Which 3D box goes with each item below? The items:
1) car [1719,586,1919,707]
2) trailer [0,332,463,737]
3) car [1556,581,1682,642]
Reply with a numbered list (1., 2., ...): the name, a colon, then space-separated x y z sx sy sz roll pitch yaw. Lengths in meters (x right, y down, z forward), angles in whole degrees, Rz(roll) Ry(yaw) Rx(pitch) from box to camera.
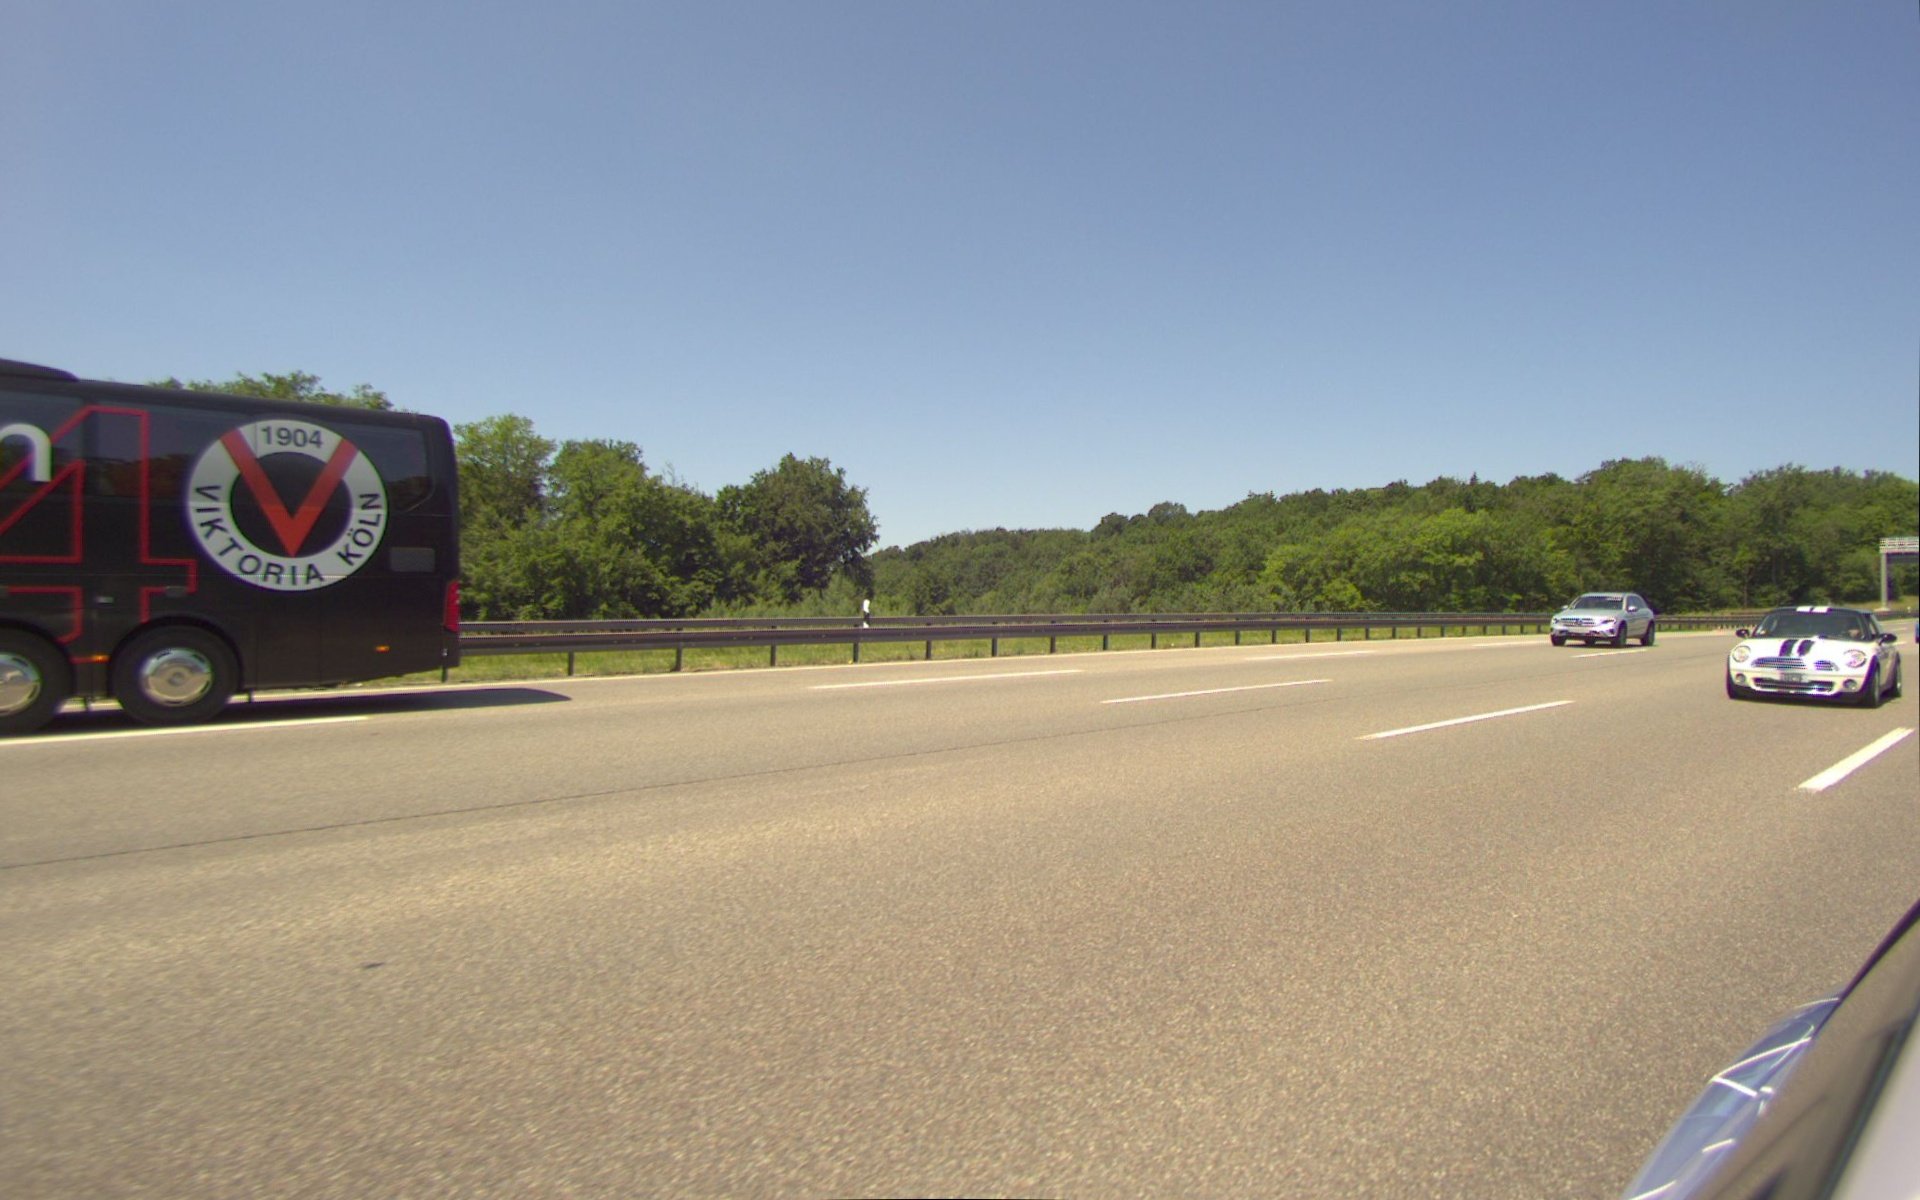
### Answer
1. car: 13.031 0.578 15.227 3.931 1.571 1.844 0 1 -42
2. trailer: -11.789 -0.587 8.641 13.307 3.734 2.862 0 0 -41
3. car: 20.496 0.394 31.387 5.145 1.754 1.804 1 -3 -40
